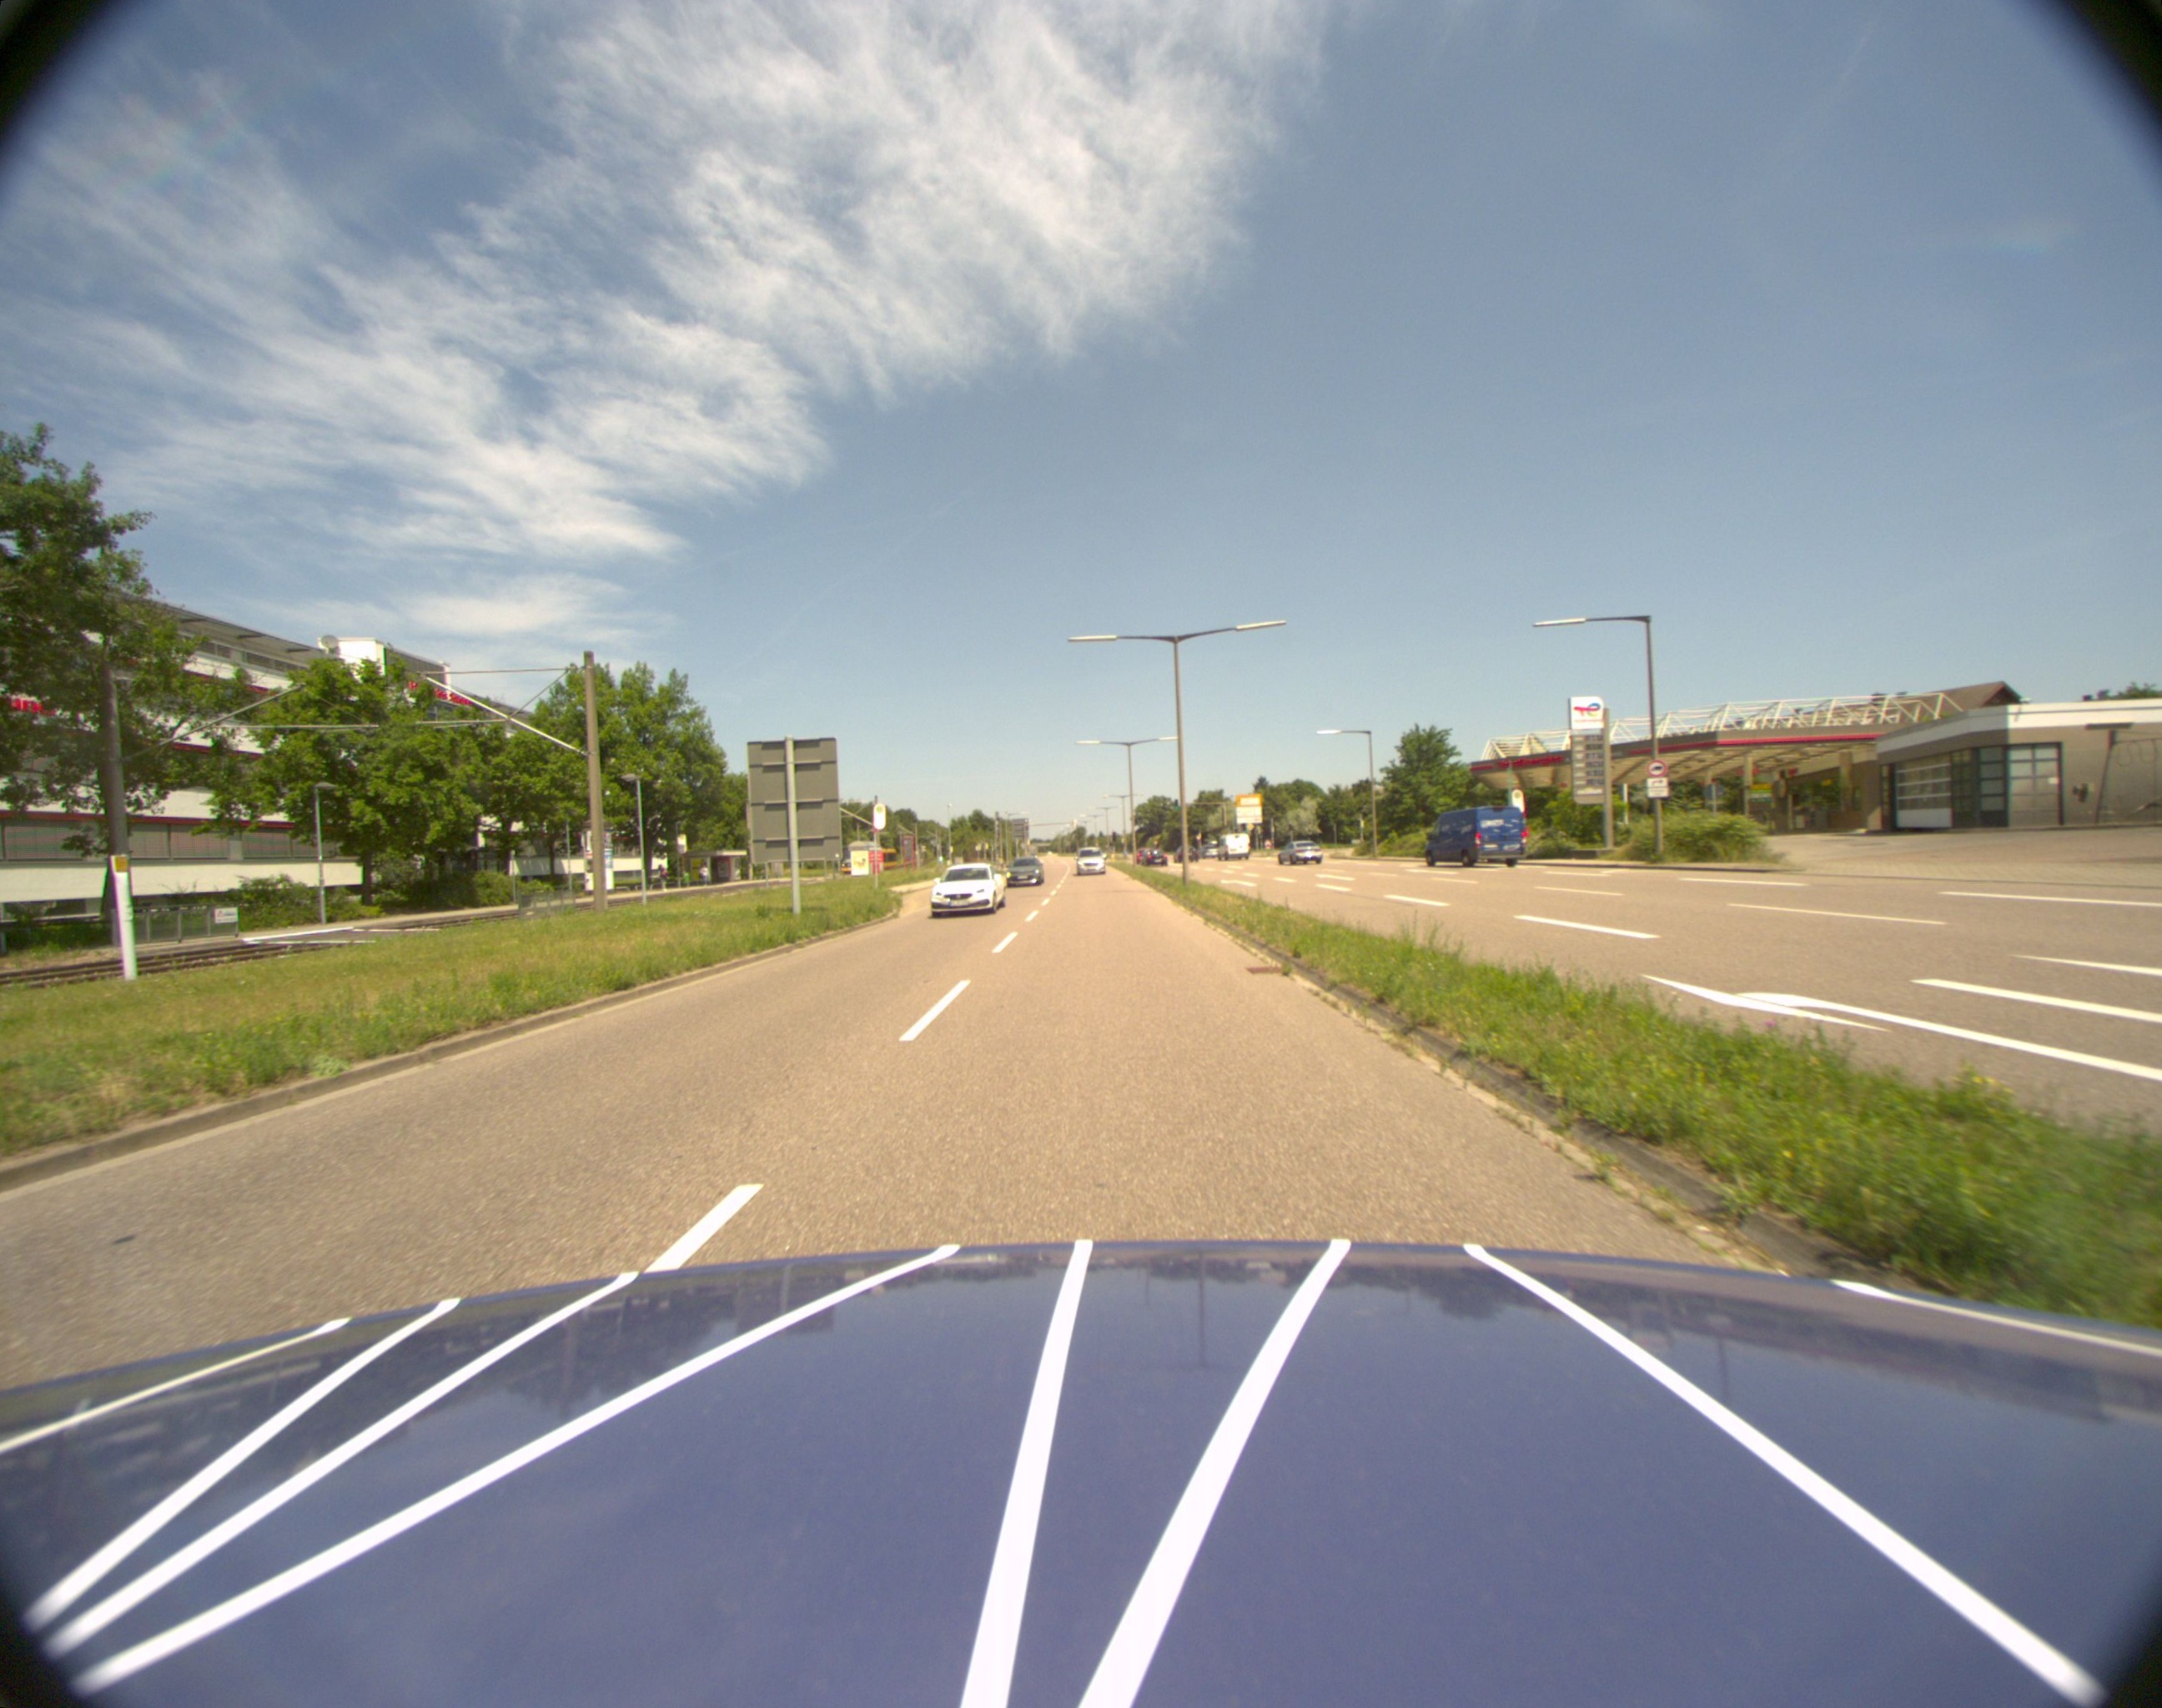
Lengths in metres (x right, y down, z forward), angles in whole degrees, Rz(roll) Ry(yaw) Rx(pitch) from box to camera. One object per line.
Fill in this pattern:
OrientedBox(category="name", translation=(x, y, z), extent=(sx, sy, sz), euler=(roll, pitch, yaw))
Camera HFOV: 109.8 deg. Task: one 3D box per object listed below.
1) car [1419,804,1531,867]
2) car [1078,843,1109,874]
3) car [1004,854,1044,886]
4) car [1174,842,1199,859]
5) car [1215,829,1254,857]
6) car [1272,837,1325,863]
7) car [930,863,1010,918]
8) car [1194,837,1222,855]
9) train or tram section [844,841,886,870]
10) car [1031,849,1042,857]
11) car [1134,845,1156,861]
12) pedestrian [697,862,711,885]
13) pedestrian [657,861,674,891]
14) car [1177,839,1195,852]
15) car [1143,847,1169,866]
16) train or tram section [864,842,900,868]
OrientedBox(category="car", translation=(16.970, -0.762, 33.141), extent=(2.178, 2.397, 5.672), euler=(-3, 0, 4))
OrientedBox(category="car", translation=(0.781, 0.248, 51.868), extent=(1.876, 1.866, 5.731), euler=(-4, 1, 0))
OrientedBox(category="car", translation=(-3.043, 0.814, 41.232), extent=(1.723, 1.587, 4.000), euler=(-2, 0, 1))
OrientedBox(category="car", translation=(9.720, -0.326, 70.095), extent=(1.735, 1.449, 4.564), euler=(-2, 1, 1))
OrientedBox(category="car", translation=(13.705, -1.005, 68.152), extent=(2.255, 2.260, 5.448), euler=(-4, 1, 1))
OrientedBox(category="car", translation=(13.669, -0.259, 47.991), extent=(1.836, 1.441, 4.850), euler=(-3, 1, -1))
OrientedBox(category="car", translation=(-3.230, 1.012, 22.856), extent=(1.686, 1.382, 4.450), euler=(-1, 1, 0))
OrientedBox(category="car", translation=(13.416, -0.869, 80.415), extent=(1.970, 1.740, 5.020), euler=(-5, 1, -1))
OrientedBox(category="train or tram section", translation=(-28.361, 0.173, 100.262), extent=(2.822, 3.561, 12.495), euler=(-2, 1, -5))
OrientedBox(category="car", translation=(-9.496, -0.243, 162.355), extent=(1.998, 1.652, 4.000), euler=(-2, 1, 1))
OrientedBox(category="car", translation=(6.264, -0.084, 74.681), extent=(1.663, 1.482, 3.999), euler=(-3, 1, -2))
OrientedBox(category="pedestrian", translation=(-27.065, 1.390, 54.567), extent=(0.553, 1.599, 0.690), euler=(-4, 2, 1))
OrientedBox(category="pedestrian", translation=(-26.128, 1.363, 47.789), extent=(0.696, 1.831, 0.711), euler=(-4, 2, -15))
OrientedBox(category="car", translation=(13.676, -1.105, 99.029), extent=(1.663, 1.530, 3.999), euler=(-4, 1, -2))
OrientedBox(category="car", translation=(6.104, 0.174, 62.179), extent=(1.680, 1.426, 4.190), euler=(-3, 1, 0))
OrientedBox(category="train or tram section", translation=(-29.327, 0.115, 112.726), extent=(2.822, 3.561, 12.495), euler=(-2, 1, -4))
